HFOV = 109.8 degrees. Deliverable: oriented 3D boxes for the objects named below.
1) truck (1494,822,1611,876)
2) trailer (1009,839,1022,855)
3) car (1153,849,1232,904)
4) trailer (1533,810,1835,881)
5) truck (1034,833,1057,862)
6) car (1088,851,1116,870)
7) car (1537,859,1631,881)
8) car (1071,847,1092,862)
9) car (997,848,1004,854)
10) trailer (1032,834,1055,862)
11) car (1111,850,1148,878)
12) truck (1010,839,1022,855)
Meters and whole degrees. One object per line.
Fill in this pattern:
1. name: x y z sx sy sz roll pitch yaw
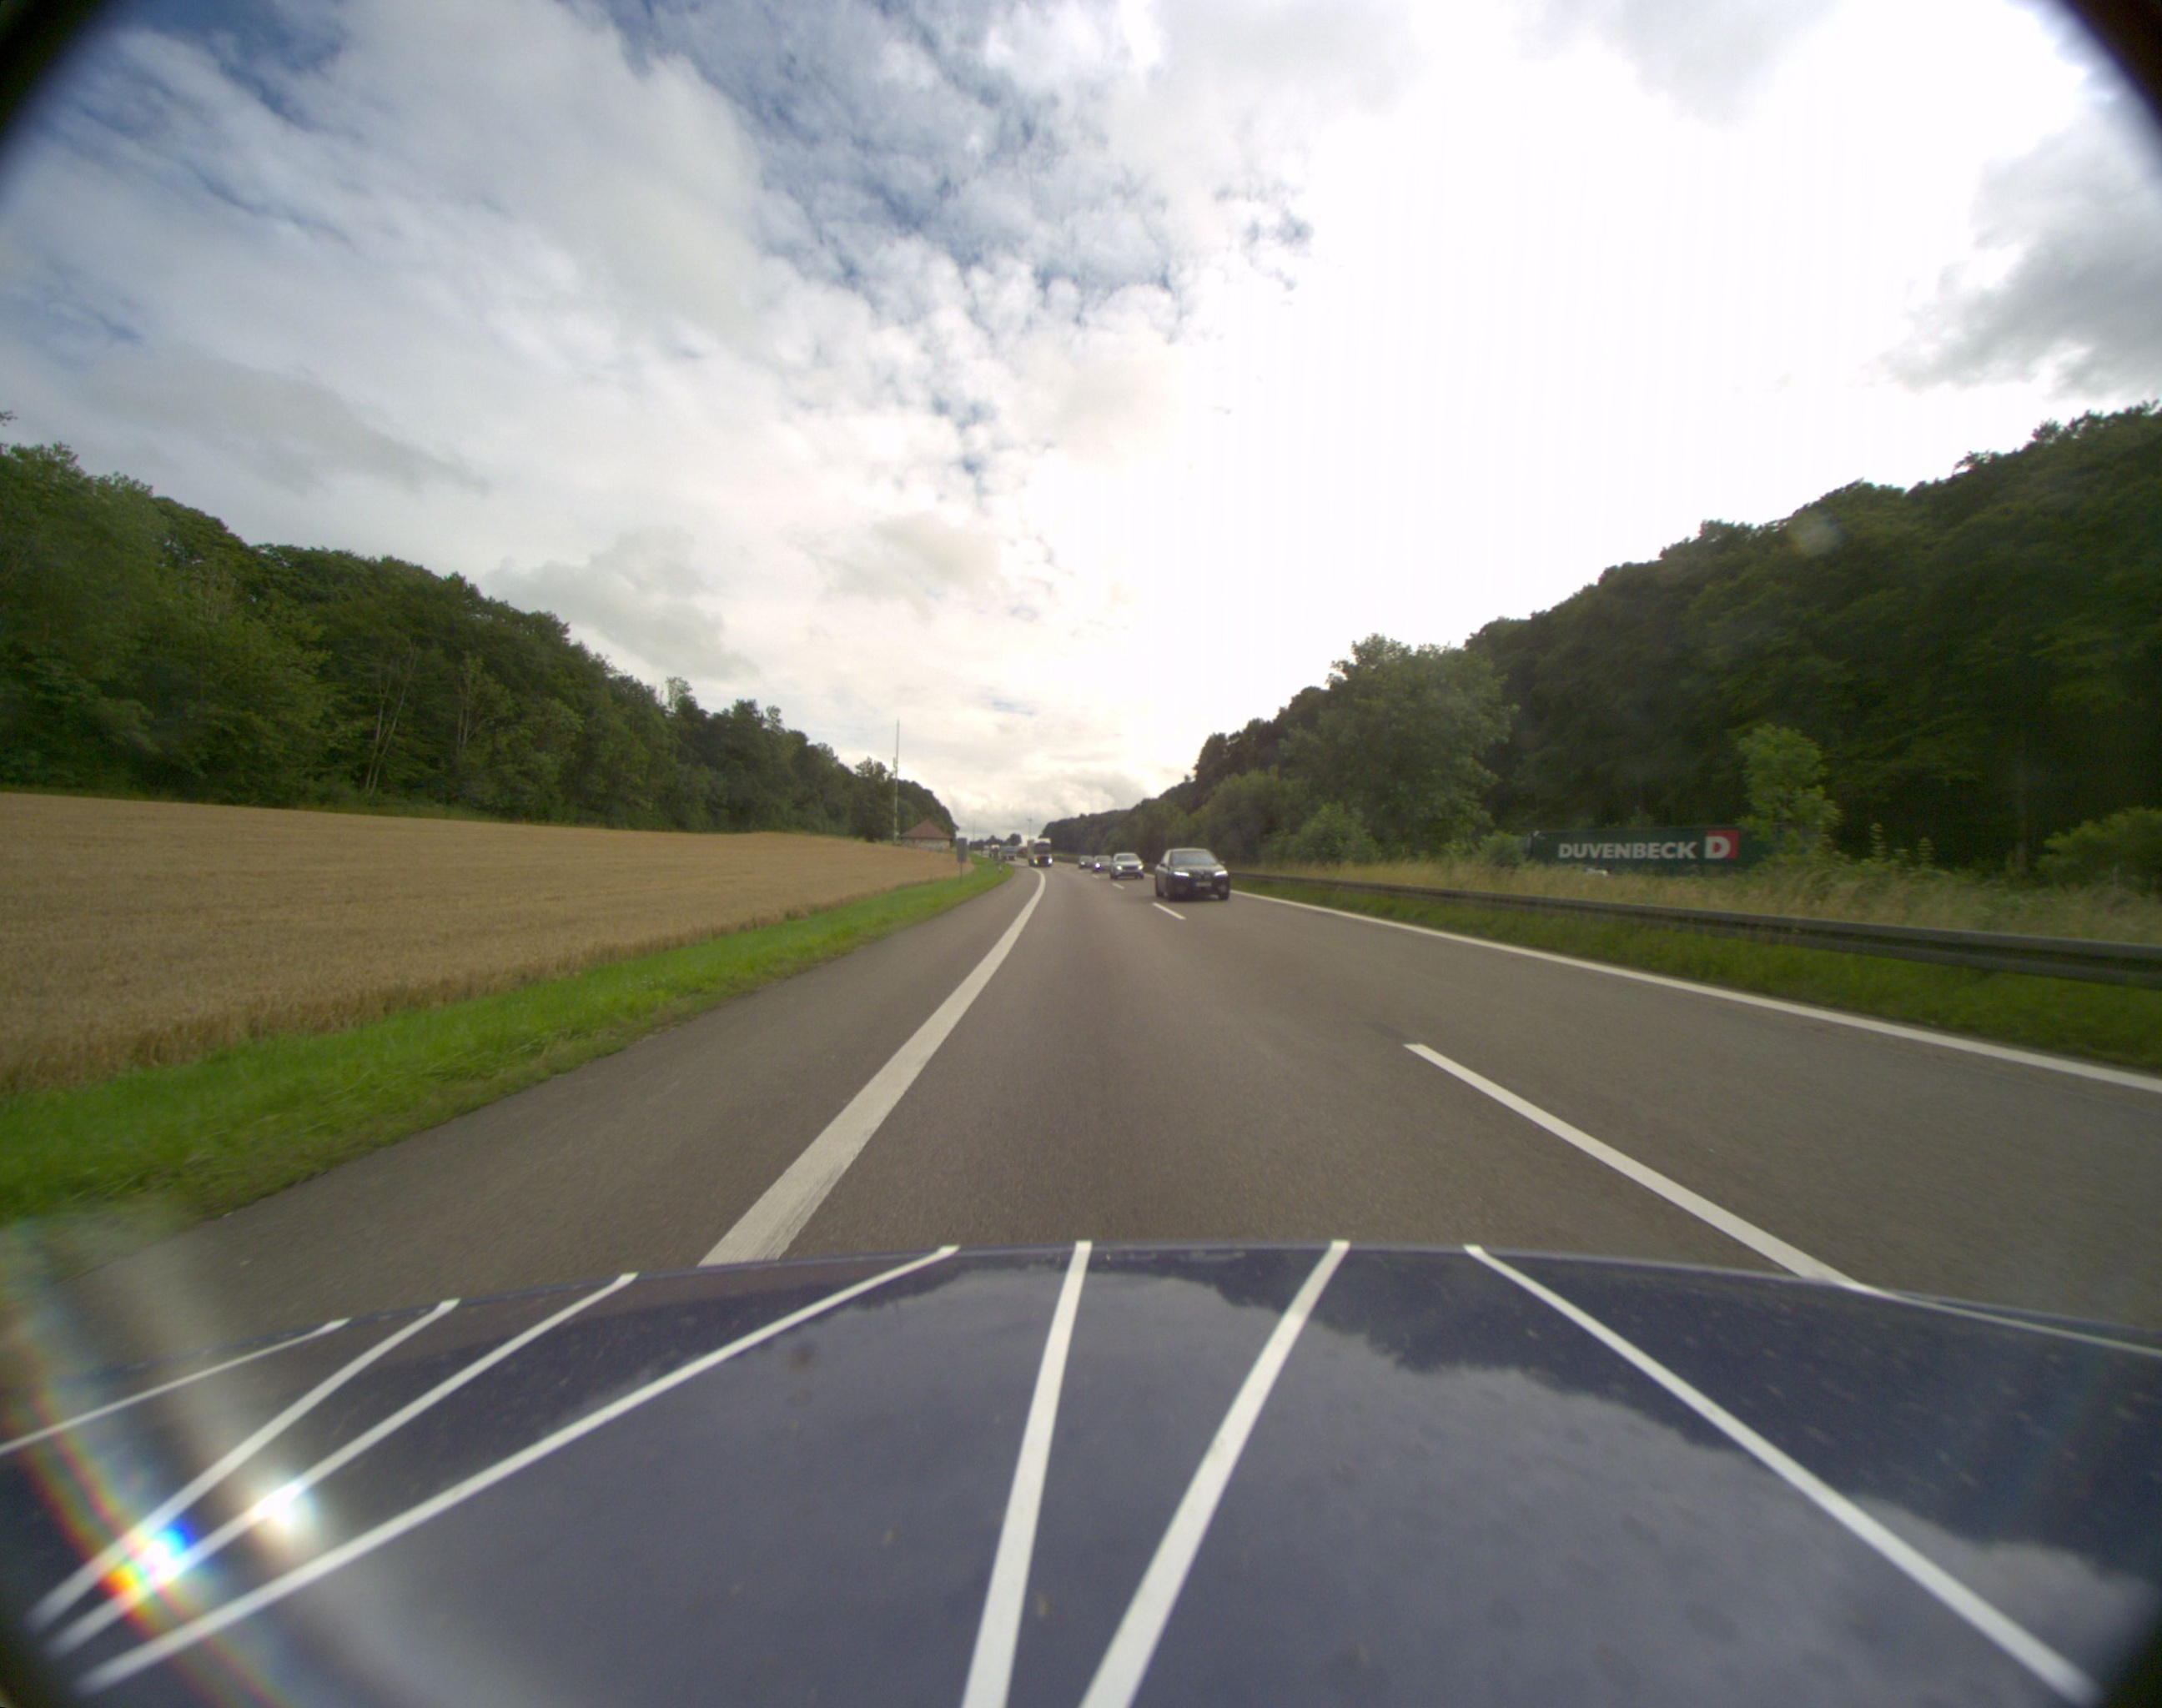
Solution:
1. truck: 30.247 -0.298 49.048 3.163 3.201 5.724 -2 0 -16
2. trailer: -16.465 -1.683 190.851 2.788 3.932 11.289 -2 1 -6
3. car: 3.679 0.695 25.815 1.999 1.656 4.414 -1 0 0
4. trailer: 32.245 -0.356 42.182 3.163 3.201 13.796 -2 0 -16
5. truck: -5.117 -0.889 107.900 2.797 3.948 5.936 -2 1 -6
6. car: 1.836 0.547 67.654 1.999 1.656 4.413 -1 0 -4
7. car: 27.393 0.860 41.512 1.901 1.017 3.994 -2 1 -16
8. car: 0.027 0.046 88.717 1.999 1.656 4.411 -1 1 -6
9. car: -25.654 -0.913 243.571 1.999 2.002 3.998 -2 1 -3
10. trailer: -5.625 -0.905 112.850 2.788 3.932 11.289 -2 1 -6
11. car: 3.080 0.617 49.264 1.999 1.656 4.414 -1 0 -1
12. truck: -15.873 -1.672 185.436 2.797 3.948 5.936 -2 1 -6
